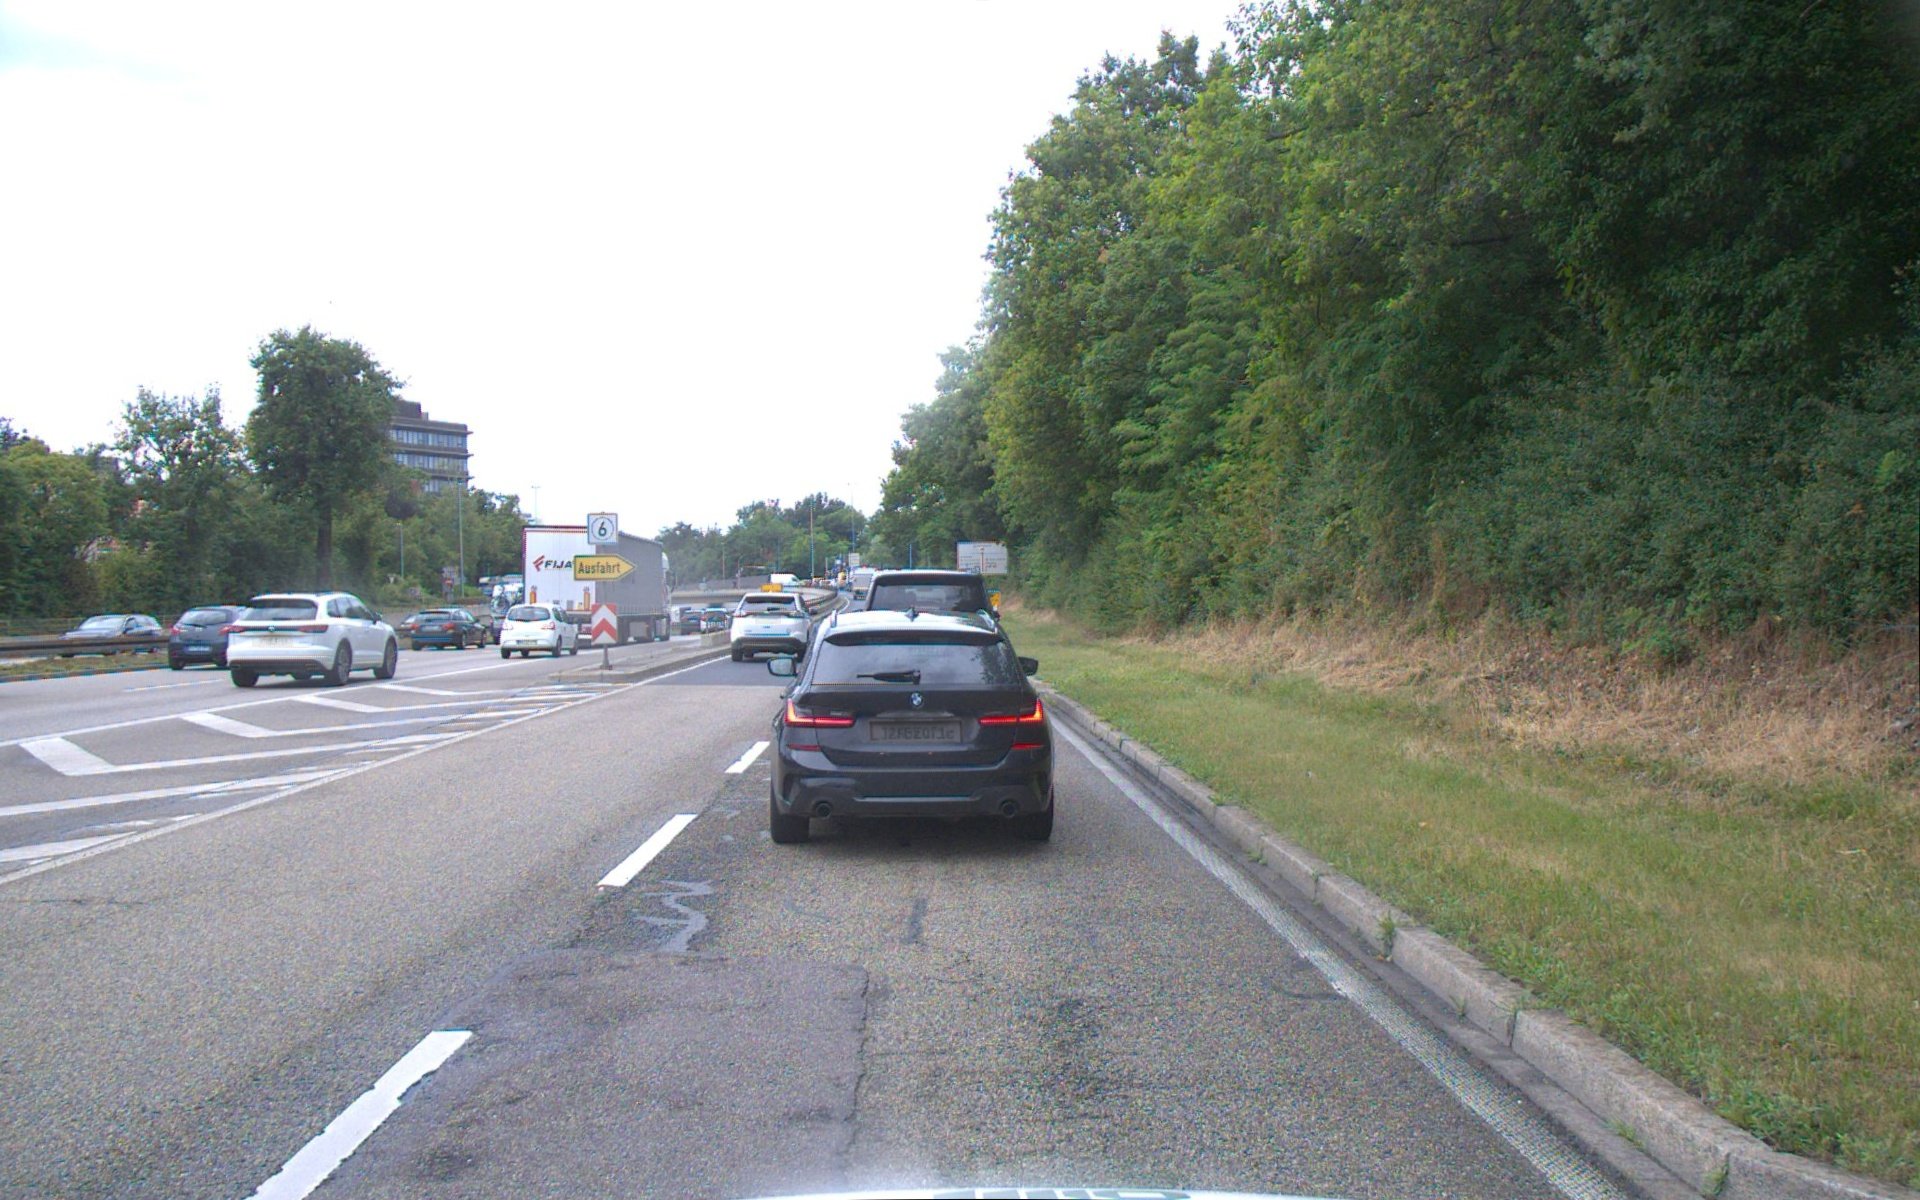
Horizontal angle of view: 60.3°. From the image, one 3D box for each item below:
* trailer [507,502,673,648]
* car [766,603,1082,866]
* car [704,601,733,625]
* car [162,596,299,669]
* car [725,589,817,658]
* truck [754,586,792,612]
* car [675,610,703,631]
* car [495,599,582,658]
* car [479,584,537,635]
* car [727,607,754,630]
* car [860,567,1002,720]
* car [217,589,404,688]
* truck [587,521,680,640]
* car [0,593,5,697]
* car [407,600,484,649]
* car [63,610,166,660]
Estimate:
[{"bbox_3d":[-13.492,-0.789,61.948,3.069,4.808,14.555,1,0,-1],"label":"trailer"},{"bbox_3d":[-0.313,0.768,11.460,1.809,1.492,3.997,0,0,-3],"label":"car"},{"bbox_3d":[-14.704,0.805,100.921,1.350,1.422,3.061,-1,0,-1],"label":"car"},{"bbox_3d":[-17.467,0.744,39.797,1.654,1.636,4.005,1,0,-3],"label":"car"},{"bbox_3d":[-4.713,0.559,41.673,1.891,1.624,3.876,-1,0,-1],"label":"car"},{"bbox_3d":[-18.774,-0.074,166.587,3.208,2.553,7.657,-1,0,-2],"label":"truck"},{"bbox_3d":[-19.796,1.470,120.818,1.561,1.457,3.061,-1,0,-1],"label":"car"},{"bbox_3d":[-11.912,0.776,46.929,1.733,1.577,3.490,-1,0,-3],"label":"car"},{"bbox_3d":[-18.841,0.377,69.067,1.414,2.080,3.679,-1,0,-1],"label":"car"},{"bbox_3d":[-14.824,1.265,111.811,1.419,1.516,3.061,-1,0,-1],"label":"car"},{"bbox_3d":[-0.412,0.539,22.653,1.760,1.905,3.999,0,0,-2],"label":"car"},{"bbox_3d":[-12.224,0.678,31.455,1.907,1.721,4.505,-1,0,-2],"label":"car"},{"bbox_3d":[-13.578,-0.777,69.033,3.021,4.780,4.231,1,0,-1],"label":"truck"},{"bbox_3d":[-16.598,0.744,25.109,1.852,1.711,4.304,-1,0,-3],"label":"car"},{"bbox_3d":[-17.960,0.833,57.914,1.654,1.660,3.732,1,0,-3],"label":"car"},{"bbox_3d":[-29.071,1.176,56.996,1.654,1.636,4.005,1,0,-3],"label":"car"}]
